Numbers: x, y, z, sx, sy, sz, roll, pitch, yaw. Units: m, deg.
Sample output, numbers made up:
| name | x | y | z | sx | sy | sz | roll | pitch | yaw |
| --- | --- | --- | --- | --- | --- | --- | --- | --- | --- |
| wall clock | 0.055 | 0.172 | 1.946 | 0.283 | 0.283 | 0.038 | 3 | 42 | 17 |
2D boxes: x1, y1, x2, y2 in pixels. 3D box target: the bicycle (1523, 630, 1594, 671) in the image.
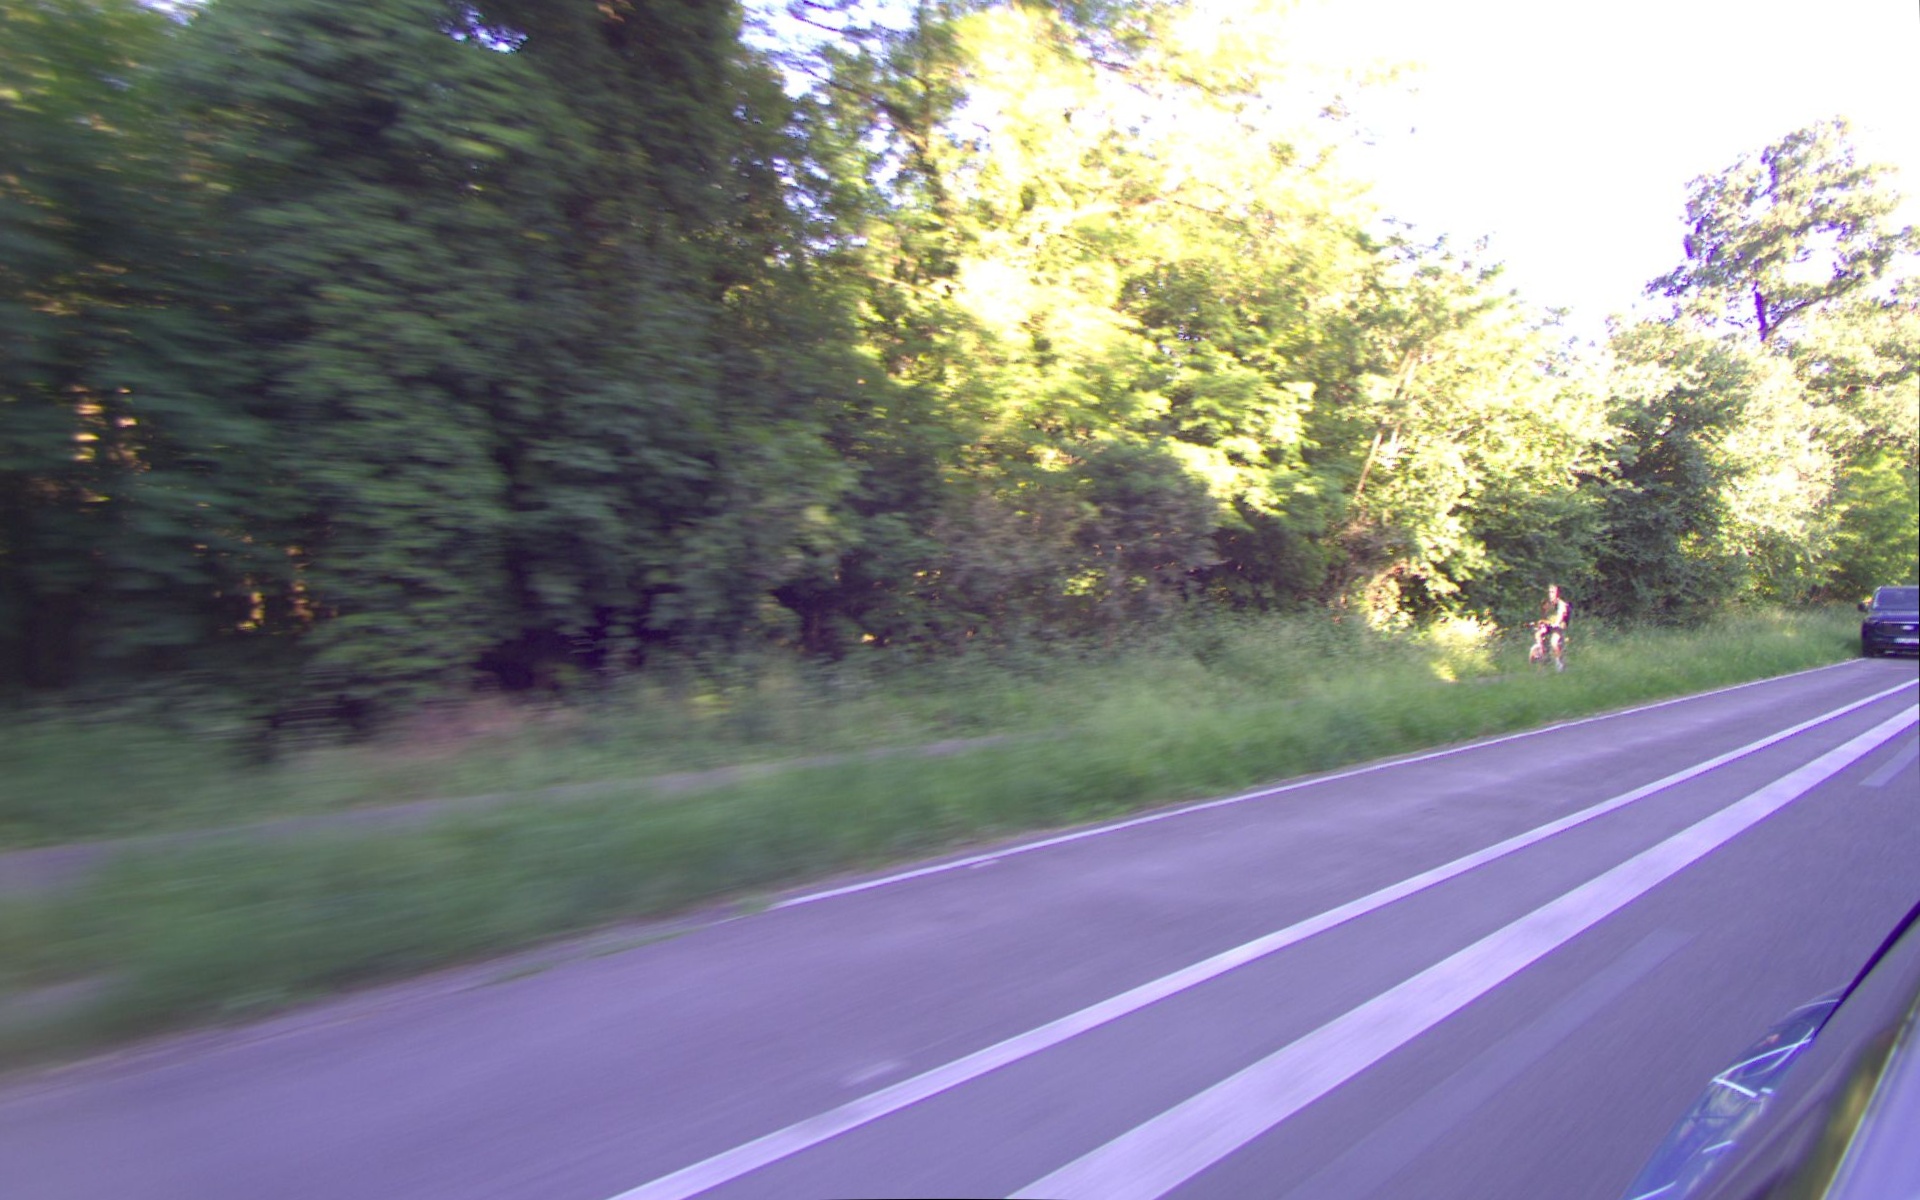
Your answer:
| name | x | y | z | sx | sy | sz | roll | pitch | yaw |
| --- | --- | --- | --- | --- | --- | --- | --- | --- | --- |
| bicycle | 11.699 | 0.967 | 19.765 | 1.961 | 0.701 | 0.592 | 0 | 1 | -41 |

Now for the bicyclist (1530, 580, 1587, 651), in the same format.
| name | x | y | z | sx | sy | sz | roll | pitch | yaw |
| --- | --- | --- | --- | --- | --- | --- | --- | --- | --- |
| bicyclist | 11.764 | 0.289 | 19.882 | 1.155 | 1.341 | 0.612 | 0 | 1 | -41 |

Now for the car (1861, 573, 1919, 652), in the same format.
| name | x | y | z | sx | sy | sz | roll | pitch | yaw |
| --- | --- | --- | --- | --- | --- | --- | --- | --- | --- |
| car | 26.498 | 0.307 | 27.673 | 4.951 | 2.039 | 2.117 | 0 | 0 | -41 |
